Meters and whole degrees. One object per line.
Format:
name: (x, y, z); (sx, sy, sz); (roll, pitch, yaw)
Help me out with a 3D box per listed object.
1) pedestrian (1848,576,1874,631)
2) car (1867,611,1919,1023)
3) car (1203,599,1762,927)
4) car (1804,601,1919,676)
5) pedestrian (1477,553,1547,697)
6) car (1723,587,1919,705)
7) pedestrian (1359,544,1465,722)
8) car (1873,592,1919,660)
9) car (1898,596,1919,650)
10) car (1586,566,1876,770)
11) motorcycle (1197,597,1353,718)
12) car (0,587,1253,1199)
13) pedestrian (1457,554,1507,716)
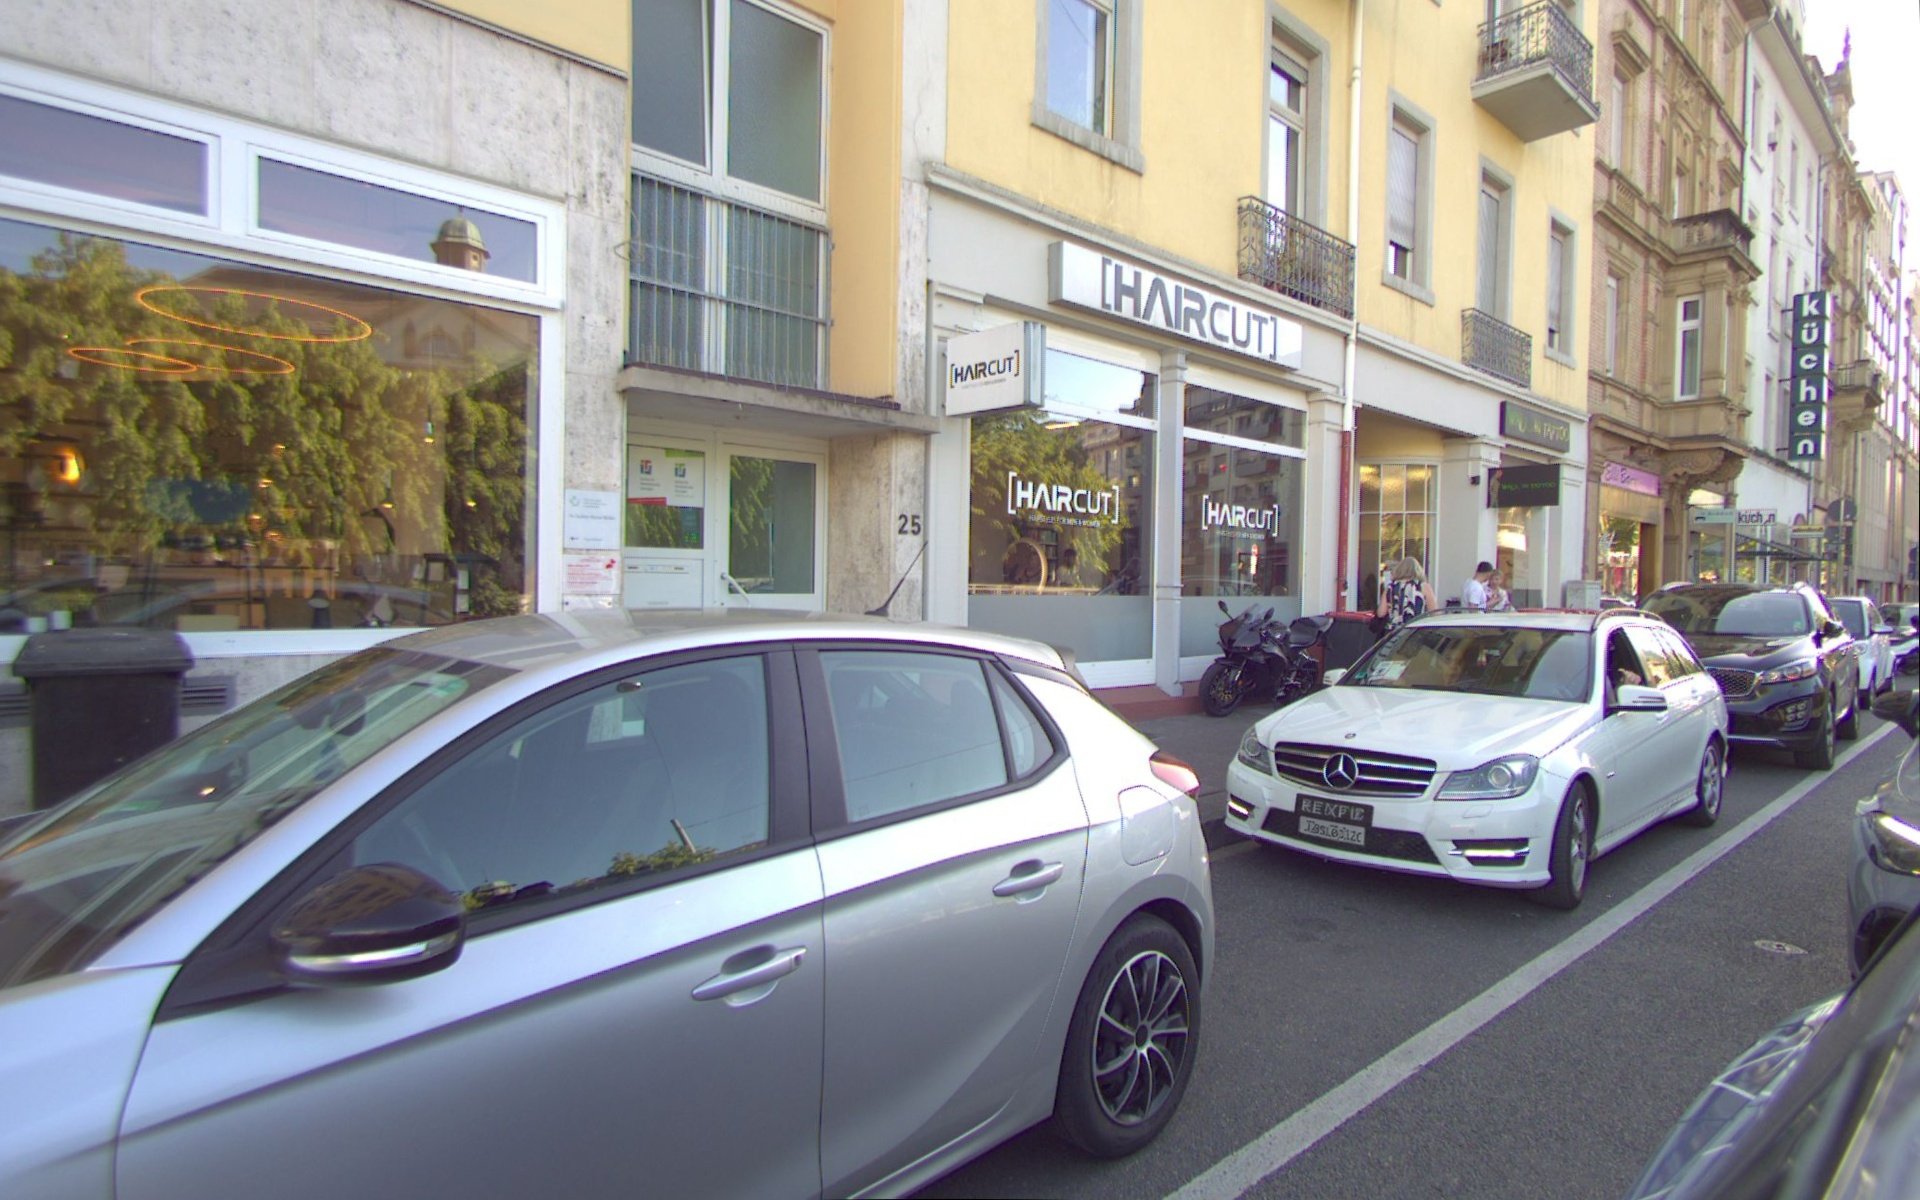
pedestrian: (30.634, 0.116, 34.406); (0.653, 1.874, 0.574); (0, 0, -40)
car: (5.255, 0.747, 4.230); (3.932, 1.376, 1.800); (-1, 1, -42)
car: (3.538, 0.702, 6.445); (4.302, 1.376, 1.703); (-1, 1, -41)
car: (18.079, 0.680, 19.854); (4.016, 1.282, 1.800); (-1, 1, -42)
pedestrian: (7.423, 0.317, 13.620); (0.565, 1.874, 0.664); (0, 0, -39)
car: (13.119, 0.580, 15.314); (4.016, 1.546, 1.800); (-1, 0, -42)
pedestrian: (4.472, 0.297, 10.026); (0.595, 1.674, 0.719); (0, 3, -40)
car: (22.240, 0.541, 23.125); (4.016, 1.450, 1.657); (-1, 0, -42)
car: (26.659, 0.592, 27.201); (3.773, 1.357, 1.800); (-1, 1, -42)
car: (7.990, 0.524, 10.336); (4.176, 1.659, 1.799); (-1, 1, -45)
motorcycle: (3.283, 0.546, 10.452); (1.920, 1.091, 0.567); (-1, 4, -41)
car: (-0.999, 0.698, 2.281); (3.597, 1.445, 1.549); (-1, 1, -42)
pedestrian: (6.637, 0.426, 12.857); (0.372, 2.008, 0.683); (1, 1, 42)
